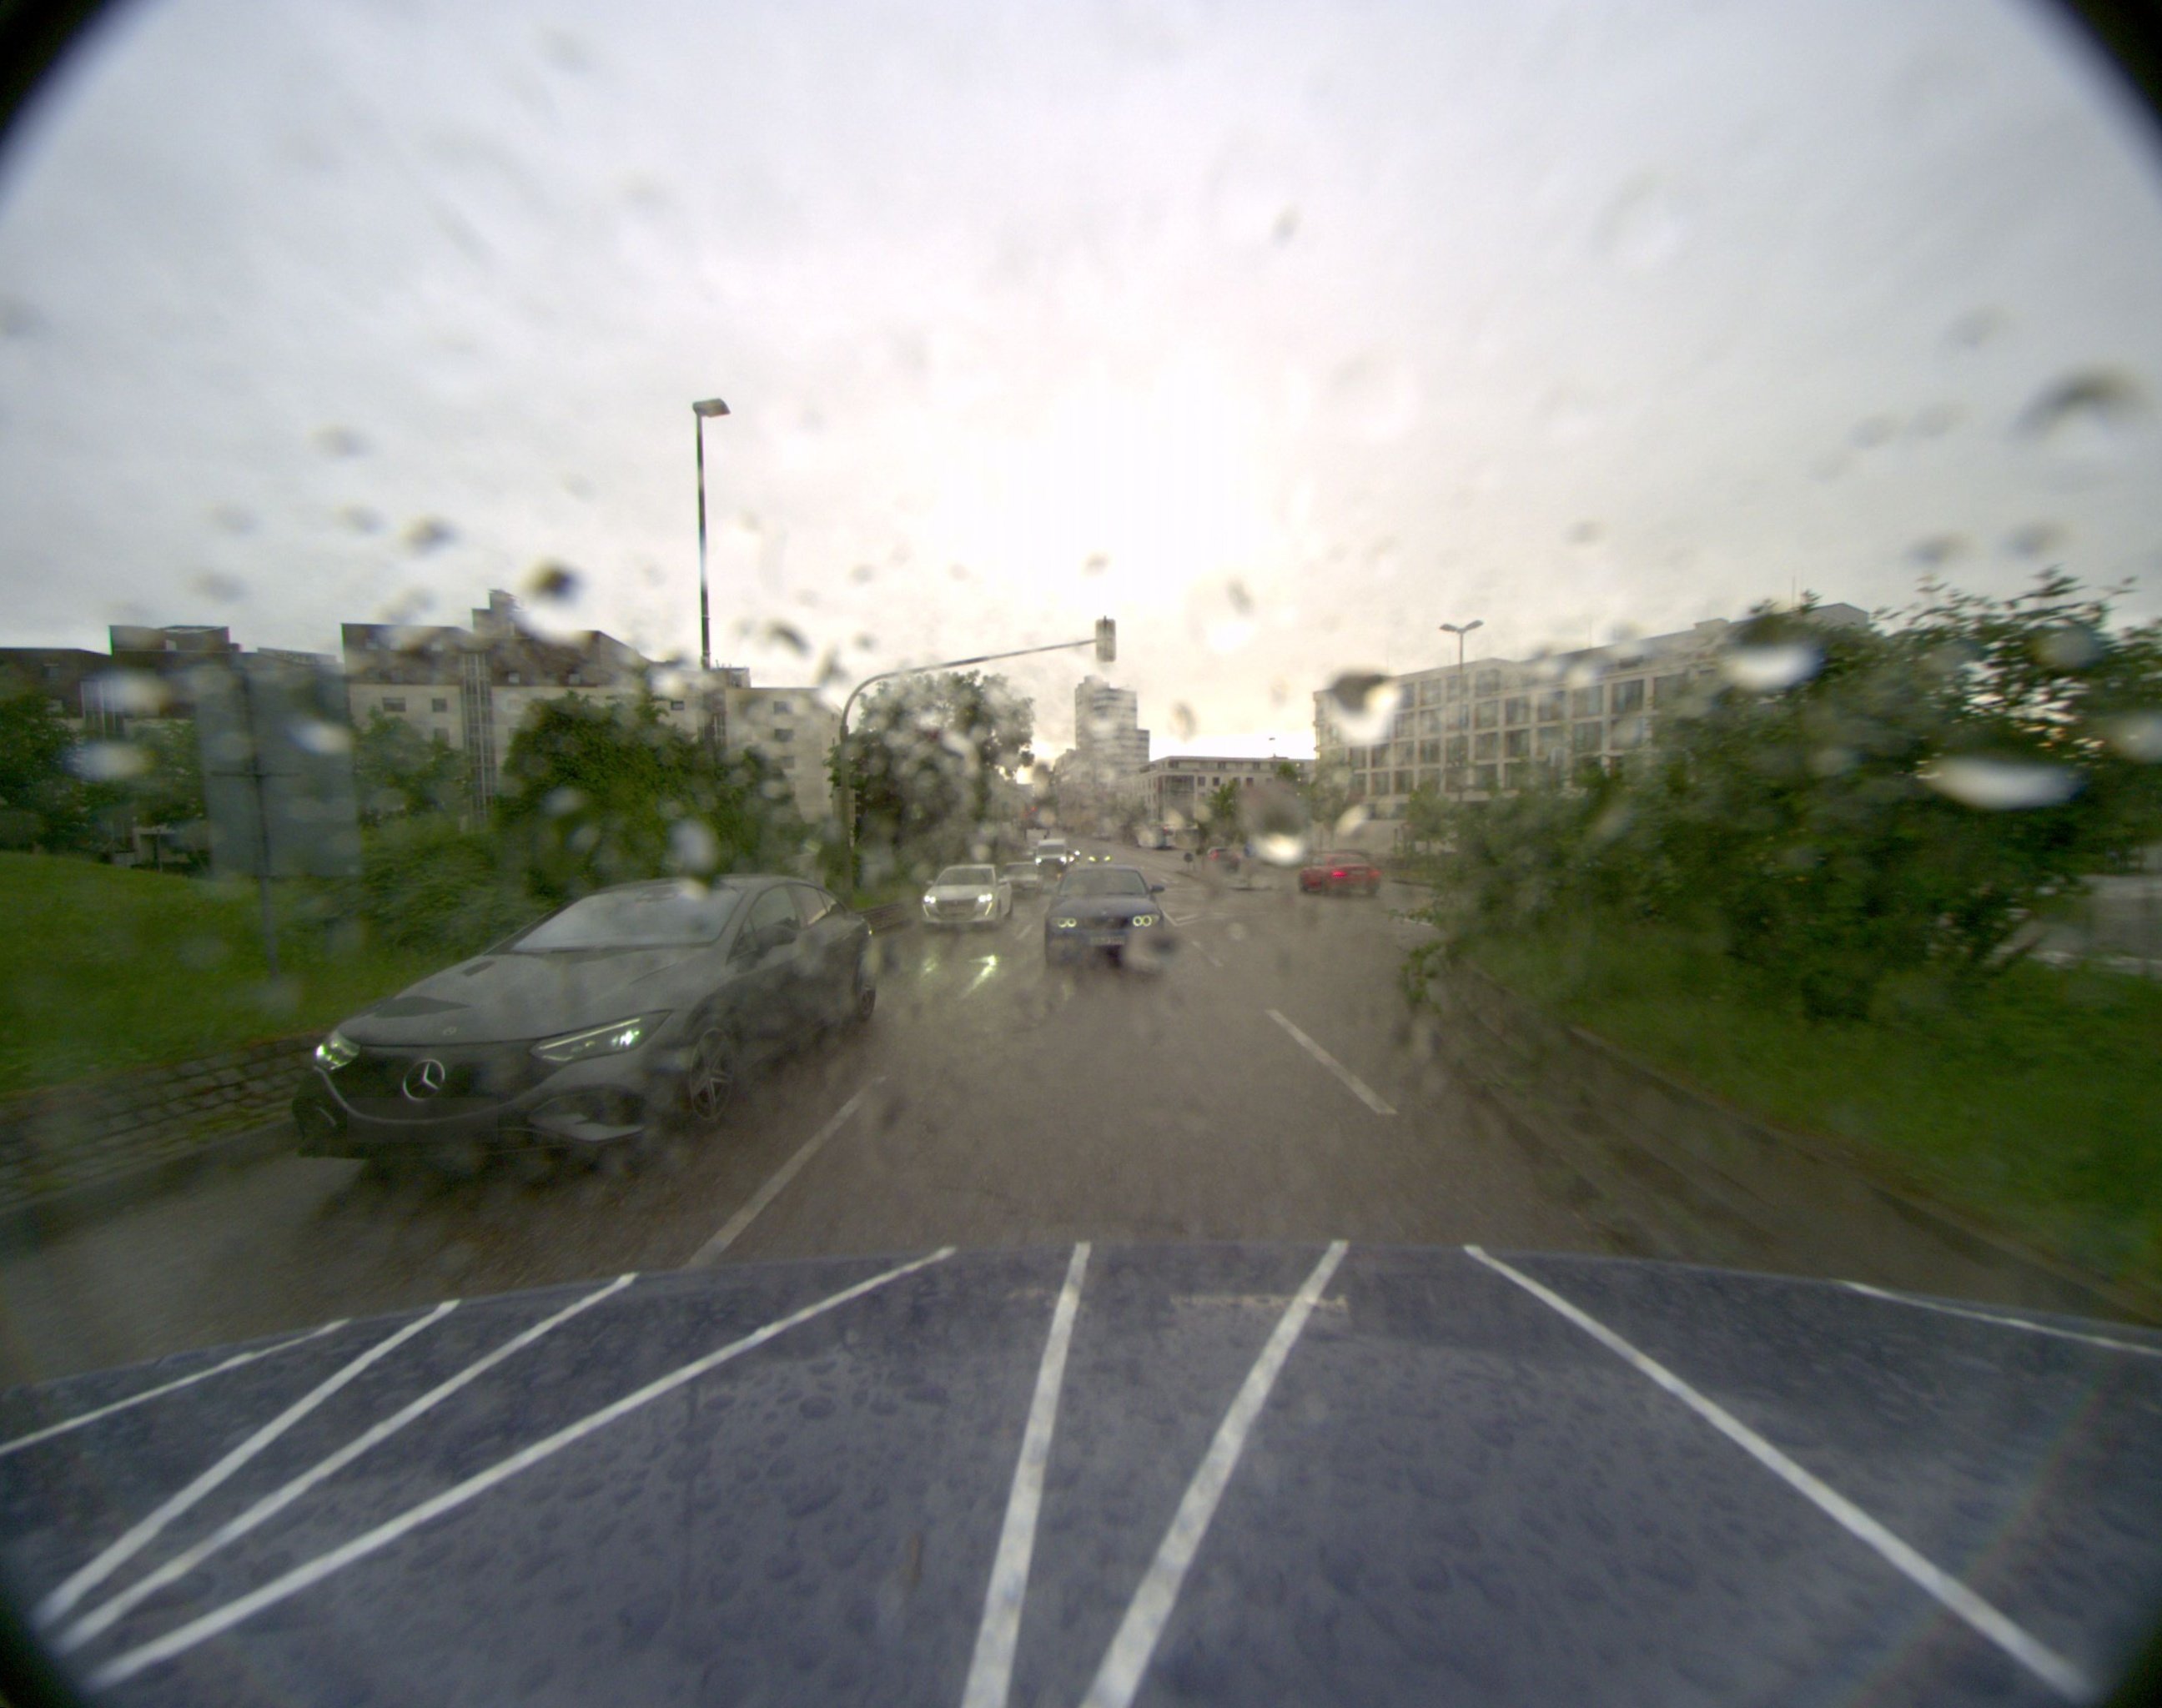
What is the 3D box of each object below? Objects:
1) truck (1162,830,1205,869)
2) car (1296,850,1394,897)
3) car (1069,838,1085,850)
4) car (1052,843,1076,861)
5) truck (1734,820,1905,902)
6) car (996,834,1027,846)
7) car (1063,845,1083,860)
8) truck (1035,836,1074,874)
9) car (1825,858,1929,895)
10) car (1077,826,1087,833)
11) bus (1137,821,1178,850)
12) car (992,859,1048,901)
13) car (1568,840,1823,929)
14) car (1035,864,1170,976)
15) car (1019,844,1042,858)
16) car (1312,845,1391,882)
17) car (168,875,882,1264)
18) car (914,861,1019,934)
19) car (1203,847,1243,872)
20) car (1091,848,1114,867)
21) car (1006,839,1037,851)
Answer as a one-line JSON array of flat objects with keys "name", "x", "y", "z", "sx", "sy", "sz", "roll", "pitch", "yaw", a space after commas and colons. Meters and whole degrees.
[{"name": "truck", "x": 6.700, "y": -0.344, "z": 50.416, "sx": 2.168, "sy": 2.426, "sz": 6.199, "roll": -1, "pitch": 1, "yaw": 2}, {"name": "car", "x": 9.170, "y": 0.627, "z": 26.830, "sx": 1.998, "sy": 1.406, "sz": 4.430, "roll": -1, "pitch": 2, "yaw": 1}, {"name": "car", "x": -0.535, "y": -1.310, "z": 100.140, "sx": 1.999, "sy": 1.543, "sz": 3.999, "roll": -2, "pitch": 0, "yaw": -1}, {"name": "car", "x": -1.512, "y": -0.150, "z": 68.066, "sx": 1.999, "sy": 1.543, "sz": 3.999, "roll": -1, "pitch": 0, "yaw": -1}, {"name": "truck", "x": 25.004, "y": 0.205, "z": 25.672, "sx": 6.185, "sy": 2.524, "sz": 2.223, "roll": 0, "pitch": 2, "yaw": -28}, {"name": "car", "x": -9.522, "y": -1.958, "z": 104.089, "sx": 3.999, "sy": 1.412, "sz": 1.701, "roll": -3, "pitch": 2, "yaw": -8}, {"name": "car", "x": -0.852, "y": -0.166, "z": 81.449, "sx": 1.999, "sy": 1.543, "sz": 3.999, "roll": -2, "pitch": 0, "yaw": -1}, {"name": "truck", "x": -1.721, "y": -0.012, "z": 51.839, "sx": 2.168, "sy": 2.426, "sz": 6.199, "roll": -1, "pitch": 1, "yaw": 2}, {"name": "car", "x": 31.195, "y": 0.835, "z": 29.742, "sx": 4.363, "sy": 1.310, "sz": 1.860, "roll": 0, "pitch": 2, "yaw": -31}, {"name": "car", "x": 0.299, "y": -5.285, "z": 164.372, "sx": 1.818, "sy": 1.421, "sz": 3.942, "roll": -3, "pitch": 3, "yaw": 3}, {"name": "bus", "x": 11.202, "y": -2.812, "z": 113.236, "sx": 2.952, "sy": 3.972, "sz": 18.217, "roll": 0, "pitch": 1, "yaw": -4}, {"name": "car", "x": -2.334, "y": 0.974, "z": 29.982, "sx": 1.718, "sy": 1.369, "sz": 3.734, "roll": -3, "pitch": 1, "yaw": 2}, {"name": "car", "x": 12.213, "y": 0.524, "z": 15.524, "sx": 1.998, "sy": 1.569, "sz": 4.000, "roll": 0, "pitch": 1, "yaw": 1}, {"name": "car", "x": 0.357, "y": 0.915, "z": 12.081, "sx": 1.787, "sy": 1.335, "sz": 3.704, "roll": -2, "pitch": 1, "yaw": 2}, {"name": "car", "x": -5.272, "y": -0.363, "z": 79.752, "sx": 1.998, "sy": 1.344, "sz": 3.803, "roll": 1, "pitch": 1, "yaw": 2}, {"name": "car", "x": 12.065, "y": 0.363, "z": 34.161, "sx": 1.955, "sy": 1.470, "sz": 4.294, "roll": 1, "pitch": 1, "yaw": -1}, {"name": "car", "x": -3.044, "y": 1.021, "z": 5.630, "sx": 1.836, "sy": 1.436, "sz": 4.550, "roll": -3, "pitch": 1, "yaw": 0}, {"name": "car", "x": -2.643, "y": 0.965, "z": 18.436, "sx": 1.718, "sy": 1.389, "sz": 4.035, "roll": -3, "pitch": 1, "yaw": 2}, {"name": "car", "x": 9.174, "y": 0.311, "z": 49.374, "sx": 1.907, "sy": 1.543, "sz": 4.074, "roll": 0, "pitch": 1, "yaw": 1}, {"name": "car", "x": 1.697, "y": 0.252, "z": 60.068, "sx": 1.718, "sy": 1.369, "sz": 3.734, "roll": -3, "pitch": 1, "yaw": 2}, {"name": "car", "x": -8.064, "y": -1.236, "z": 102.015, "sx": 3.999, "sy": 1.412, "sz": 1.998, "roll": -3, "pitch": 2, "yaw": -8}]
